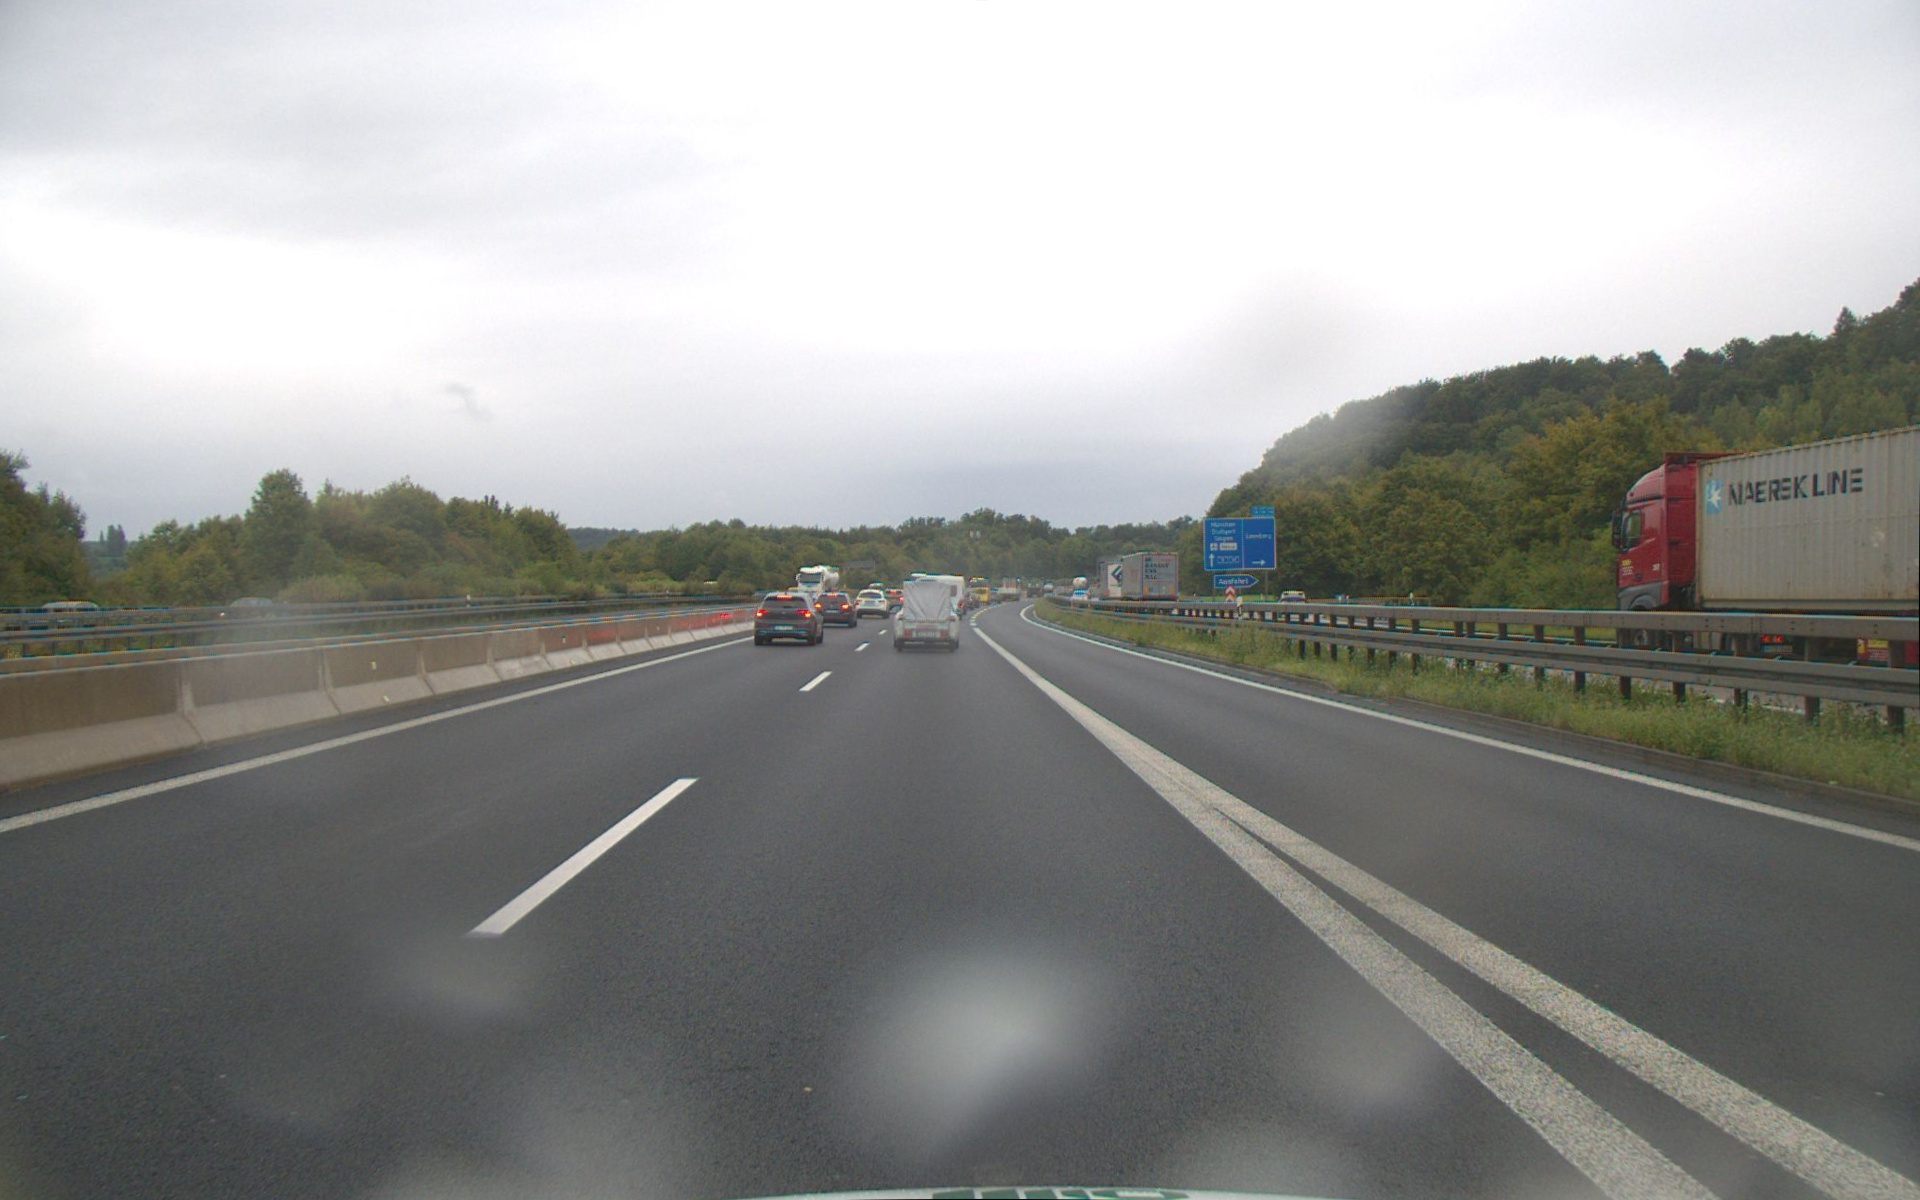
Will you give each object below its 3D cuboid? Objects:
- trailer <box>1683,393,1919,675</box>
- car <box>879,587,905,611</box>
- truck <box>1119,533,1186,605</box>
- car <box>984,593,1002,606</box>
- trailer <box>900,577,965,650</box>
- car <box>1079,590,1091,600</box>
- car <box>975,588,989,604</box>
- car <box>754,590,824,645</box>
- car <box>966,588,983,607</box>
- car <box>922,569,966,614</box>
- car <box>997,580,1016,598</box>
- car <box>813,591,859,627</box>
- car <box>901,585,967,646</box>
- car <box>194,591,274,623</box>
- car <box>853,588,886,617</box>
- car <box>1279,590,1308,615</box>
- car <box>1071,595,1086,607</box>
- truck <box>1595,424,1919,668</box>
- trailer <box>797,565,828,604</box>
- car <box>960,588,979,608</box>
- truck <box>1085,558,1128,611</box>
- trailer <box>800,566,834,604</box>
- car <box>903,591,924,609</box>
[{"bbox_3d":[14.710,-0.913,23.676,2.552,3.962,12.481,1,0,-4],"label":"trailer"},{"bbox_3d":[-4.914,-0.071,119.919,1.739,1.669,4.042,1,0,-1],"label":"car"},{"bbox_3d":[13.369,-2.019,116.251,3.150,4.748,13.031,1,0,0],"label":"truck"},{"bbox_3d":[4.220,-0.064,210.358,1.994,1.712,4.003,1,0,6],"label":"car"},{"bbox_3d":[-0.724,0.338,44.086,1.641,1.844,3.999,1,0,-1],"label":"trailer"},{"bbox_3d":[18.169,-0.704,240.102,1.641,1.481,4.001,1,0,2],"label":"car"},{"bbox_3d":[2.584,-0.492,194.886,1.641,1.844,4.000,1,0,1],"label":"car"},{"bbox_3d":[-4.849,0.484,47.286,1.642,1.481,3.999,1,0,-1],"label":"car"},{"bbox_3d":[1.501,-0.263,167.400,1.641,1.844,4.000,1,0,1],"label":"car"},{"bbox_3d":[-0.933,-0.498,100.222,2.456,2.630,5.700,1,0,1],"label":"car"},{"bbox_3d":[6.709,-1.554,238.471,2.463,2.620,5.314,1,0,4],"label":"car"},{"bbox_3d":[-5.304,0.395,71.164,1.729,1.481,3.999,1,0,-1],"label":"car"},{"bbox_3d":[-0.728,0.436,47.765,1.781,1.644,4.777,1,0,0],"label":"car"},{"bbox_3d":[-35.058,0.340,79.988,1.781,1.481,4.777,1,0,-1],"label":"car"},{"bbox_3d":[-5.237,0.151,96.181,1.739,1.669,4.042,1,0,-1],"label":"car"},{"bbox_3d":[20.215,0.172,100.387,1.640,1.481,4.003,1,0,11],"label":"car"},{"bbox_3d":[14.131,0.134,197.184,1.641,1.481,4.001,1,0,3],"label":"car"},{"bbox_3d":[14.282,-0.877,30.255,2.564,3.952,6.387,1,0,-4],"label":"truck"},{"bbox_3d":[-14.863,-1.543,166.942,2.582,3.780,6.491,1,0,0],"label":"trailer"},{"bbox_3d":[0.863,-0.194,151.914,1.641,1.844,4.000,1,0,1],"label":"car"},{"bbox_3d":[13.645,-1.370,155.025,3.149,4.748,13.035,1,0,2],"label":"truck"},{"bbox_3d":[-14.855,-1.492,172.745,2.582,3.801,10.810,1,0,0],"label":"trailer"},{"bbox_3d":[-4.426,0.008,159.021,1.739,1.669,4.044,1,0,2],"label":"car"}]
